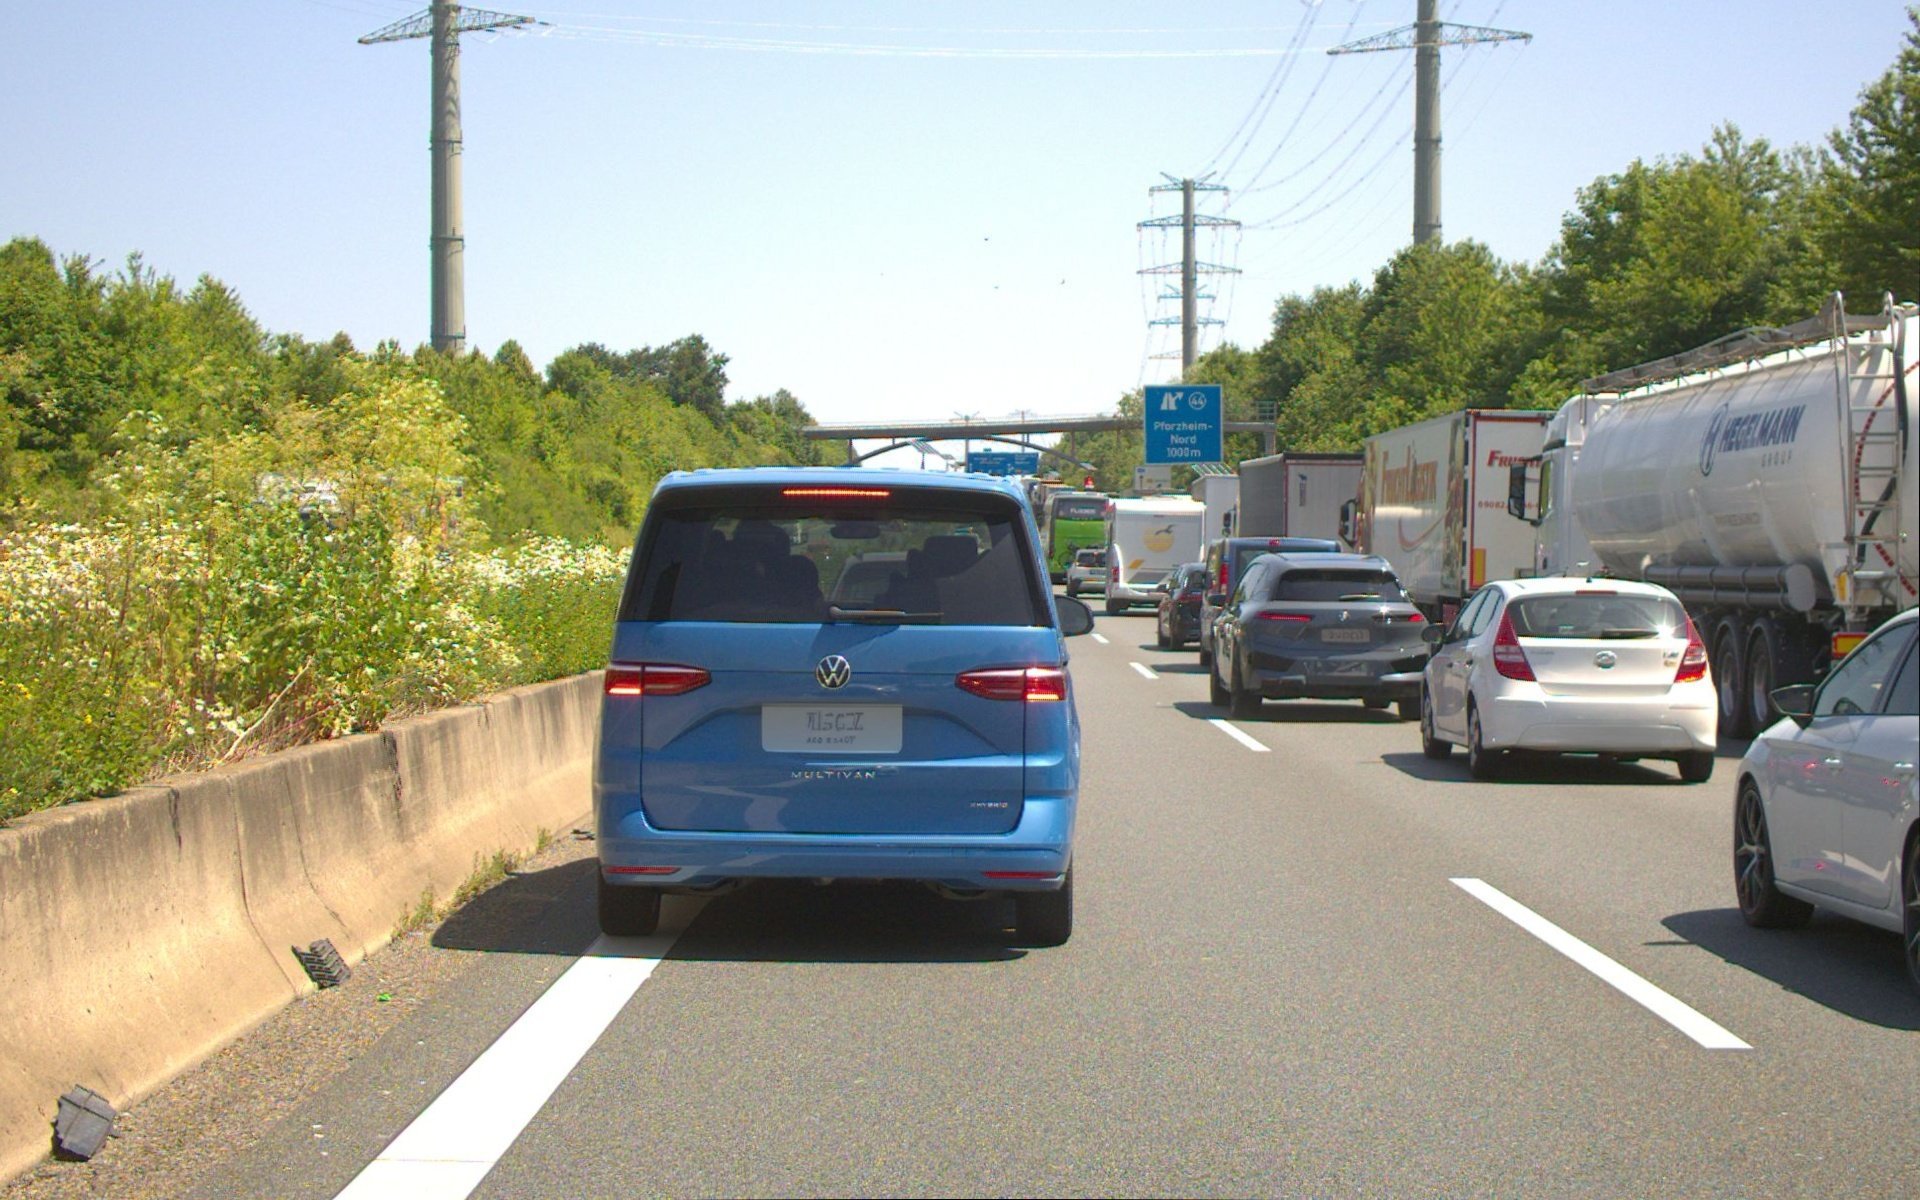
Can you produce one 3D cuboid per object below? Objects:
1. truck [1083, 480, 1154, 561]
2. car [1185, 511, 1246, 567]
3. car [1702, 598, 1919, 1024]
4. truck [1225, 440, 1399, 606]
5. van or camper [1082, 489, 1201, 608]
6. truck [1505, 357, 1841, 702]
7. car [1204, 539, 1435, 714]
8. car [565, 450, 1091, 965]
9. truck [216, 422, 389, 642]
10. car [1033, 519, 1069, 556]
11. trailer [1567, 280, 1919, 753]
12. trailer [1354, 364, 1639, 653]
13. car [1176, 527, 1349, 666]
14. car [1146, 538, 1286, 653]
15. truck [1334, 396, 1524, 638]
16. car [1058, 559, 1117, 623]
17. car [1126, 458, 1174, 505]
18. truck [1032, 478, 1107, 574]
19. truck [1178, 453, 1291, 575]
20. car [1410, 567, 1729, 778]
[{"bbox_3d":[9.099,-4.525,198.226,3.566,4.502,10.293,0,0,0],"label":"truck"},{"bbox_3d":[9.400,-2.230,126.711,1.993,2.007,4.000,0,0,0],"label":"car"},{"bbox_3d":[4.123,0.709,12.998,1.747,1.438,4.313,0,0,1],"label":"car"},{"bbox_3d":[8.572,-1.764,85.666,3.006,3.754,15.712,0,0,1],"label":"truck"},{"bbox_3d":[4.737,-1.323,90.705,2.957,3.012,7.102,0,0,2],"label":"van or camper"},{"bbox_3d":[8.370,-0.806,40.993,2.793,3.823,5.572,0,0,0],"label":"truck"},{"bbox_3d":[3.708,0.269,36.204,1.999,1.709,4.625,0,0,1],"label":"car"},{"bbox_3d":[-0.484,0.372,14.790,1.920,1.880,4.000,1,1,0],"label":"car"},{"bbox_3d":[-15.423,-1.579,80.957,3.302,5.033,4.033,0,0,0],"label":"truck"},{"bbox_3d":[5.429,-3.712,205.146,1.993,2.119,4.000,0,0,0],"label":"car"},{"bbox_3d":[8.376,-0.728,33.621,2.761,3.832,11.486,0,0,0],"label":"trailer"},{"bbox_3d":[9.002,-1.467,59.266,2.912,4.453,12.154,0,0,0],"label":"trailer"},{"bbox_3d":[4.403,-0.039,50.590,1.923,1.919,4.236,-1,0,-3],"label":"car"},{"bbox_3d":[4.483,-0.072,60.830,1.923,1.919,4.236,-1,0,-3],"label":"car"},{"bbox_3d":[8.968,-1.555,66.277,2.912,4.453,5.143,0,0,0],"label":"truck"},{"bbox_3d":[4.143,-0.279,112.004,1.836,1.992,4.000,-1,0,2],"label":"car"},{"bbox_3d":[8.550,-5.323,154.809,1.993,2.007,4.000,0,0,0],"label":"car"},{"bbox_3d":[4.425,-2.976,140.822,2.895,3.754,10.140,0,0,1],"label":"truck"},{"bbox_3d":[9.013,-2.744,114.261,2.895,3.754,13.344,0,0,1],"label":"truck"},{"bbox_3d":[4.575,0.524,26.345,1.817,1.480,4.000,0,0,1],"label":"car"}]
